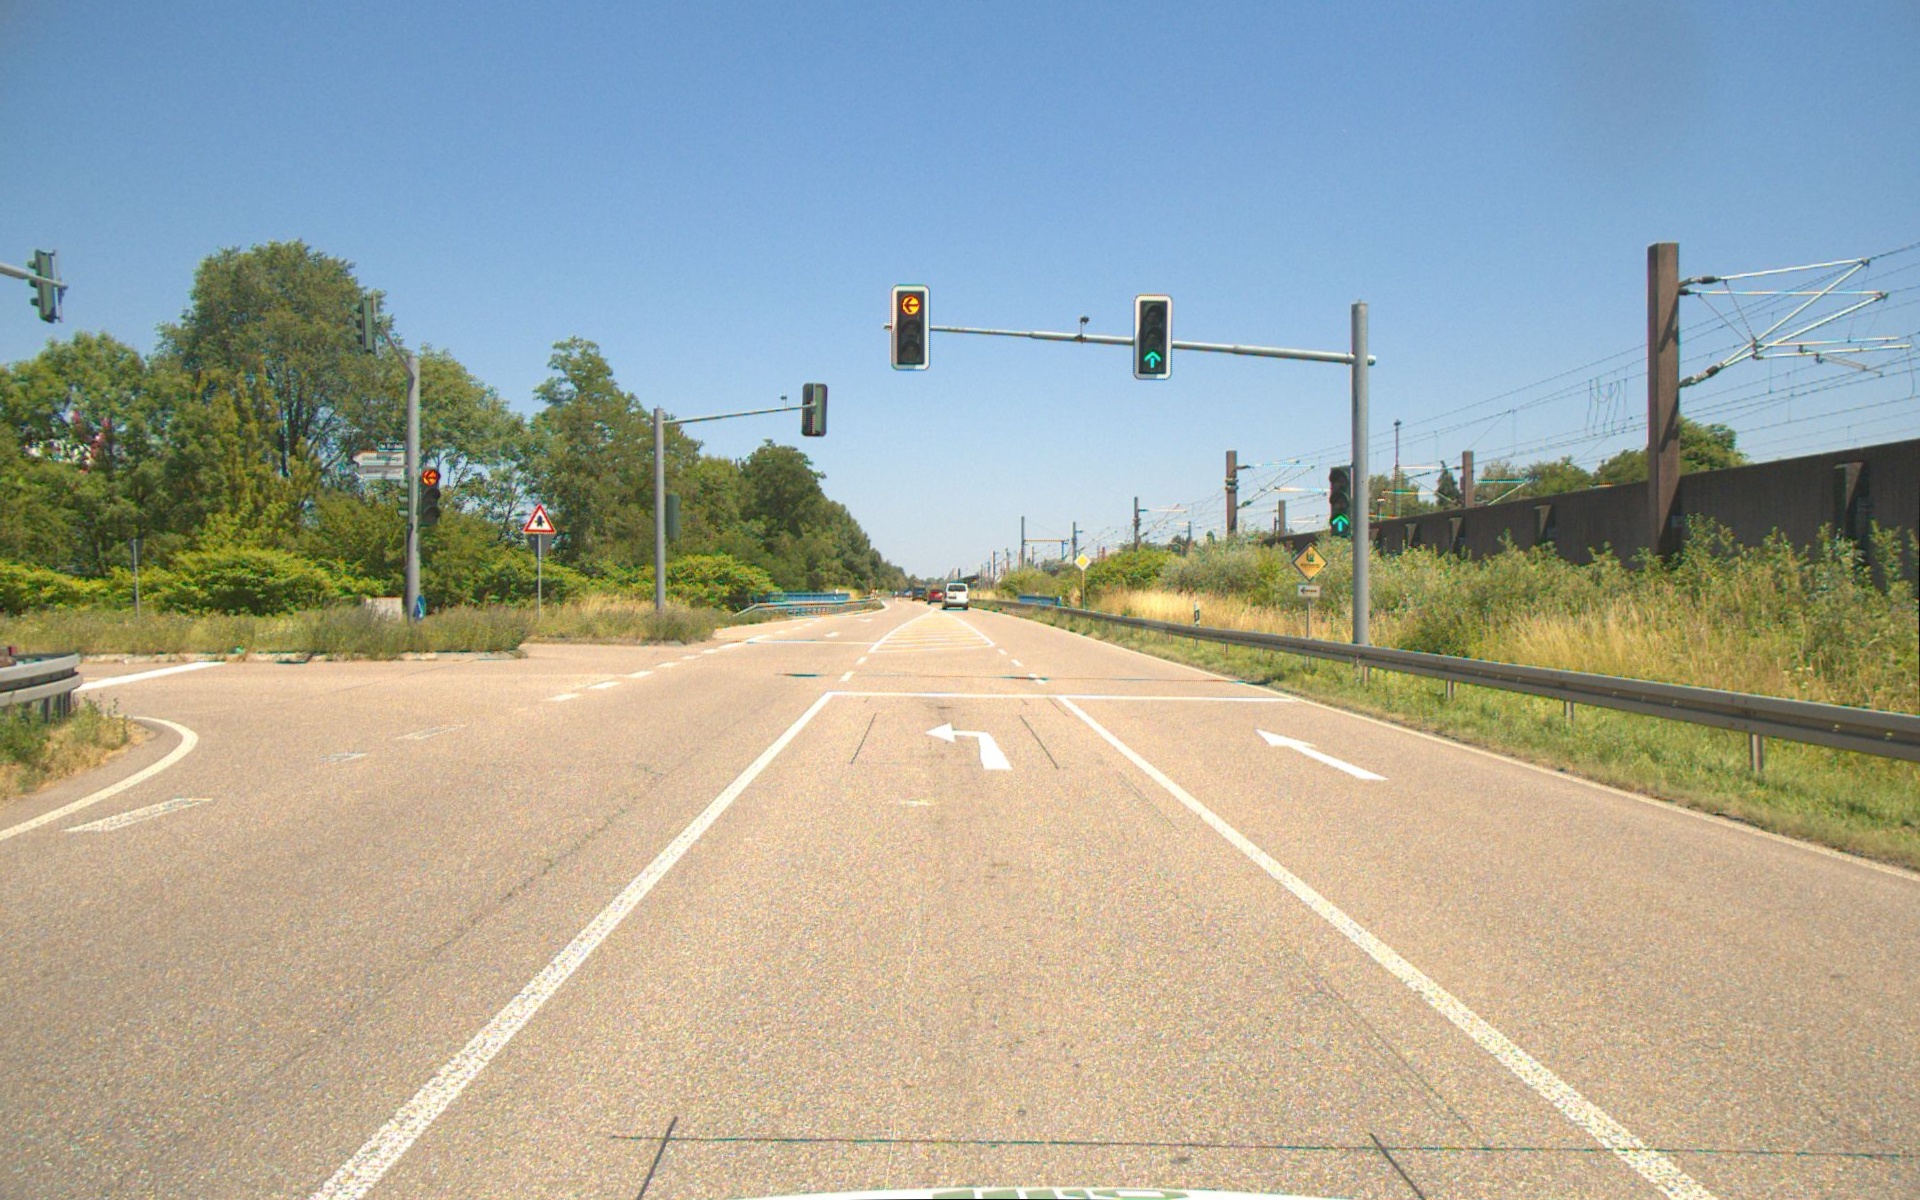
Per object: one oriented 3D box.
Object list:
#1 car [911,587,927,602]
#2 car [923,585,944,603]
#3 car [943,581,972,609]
[{"bbox_3d":[-5.632,-0.775,225.885,2.112,2.002,4.540,1,0,-3],"label":"car"},{"bbox_3d":[-2.698,-0.589,168.980,1.979,1.756,4.540,1,0,-3],"label":"car"},{"bbox_3d":[-0.215,-0.389,124.165,1.953,2.018,4.058,1,0,-2],"label":"car"}]
